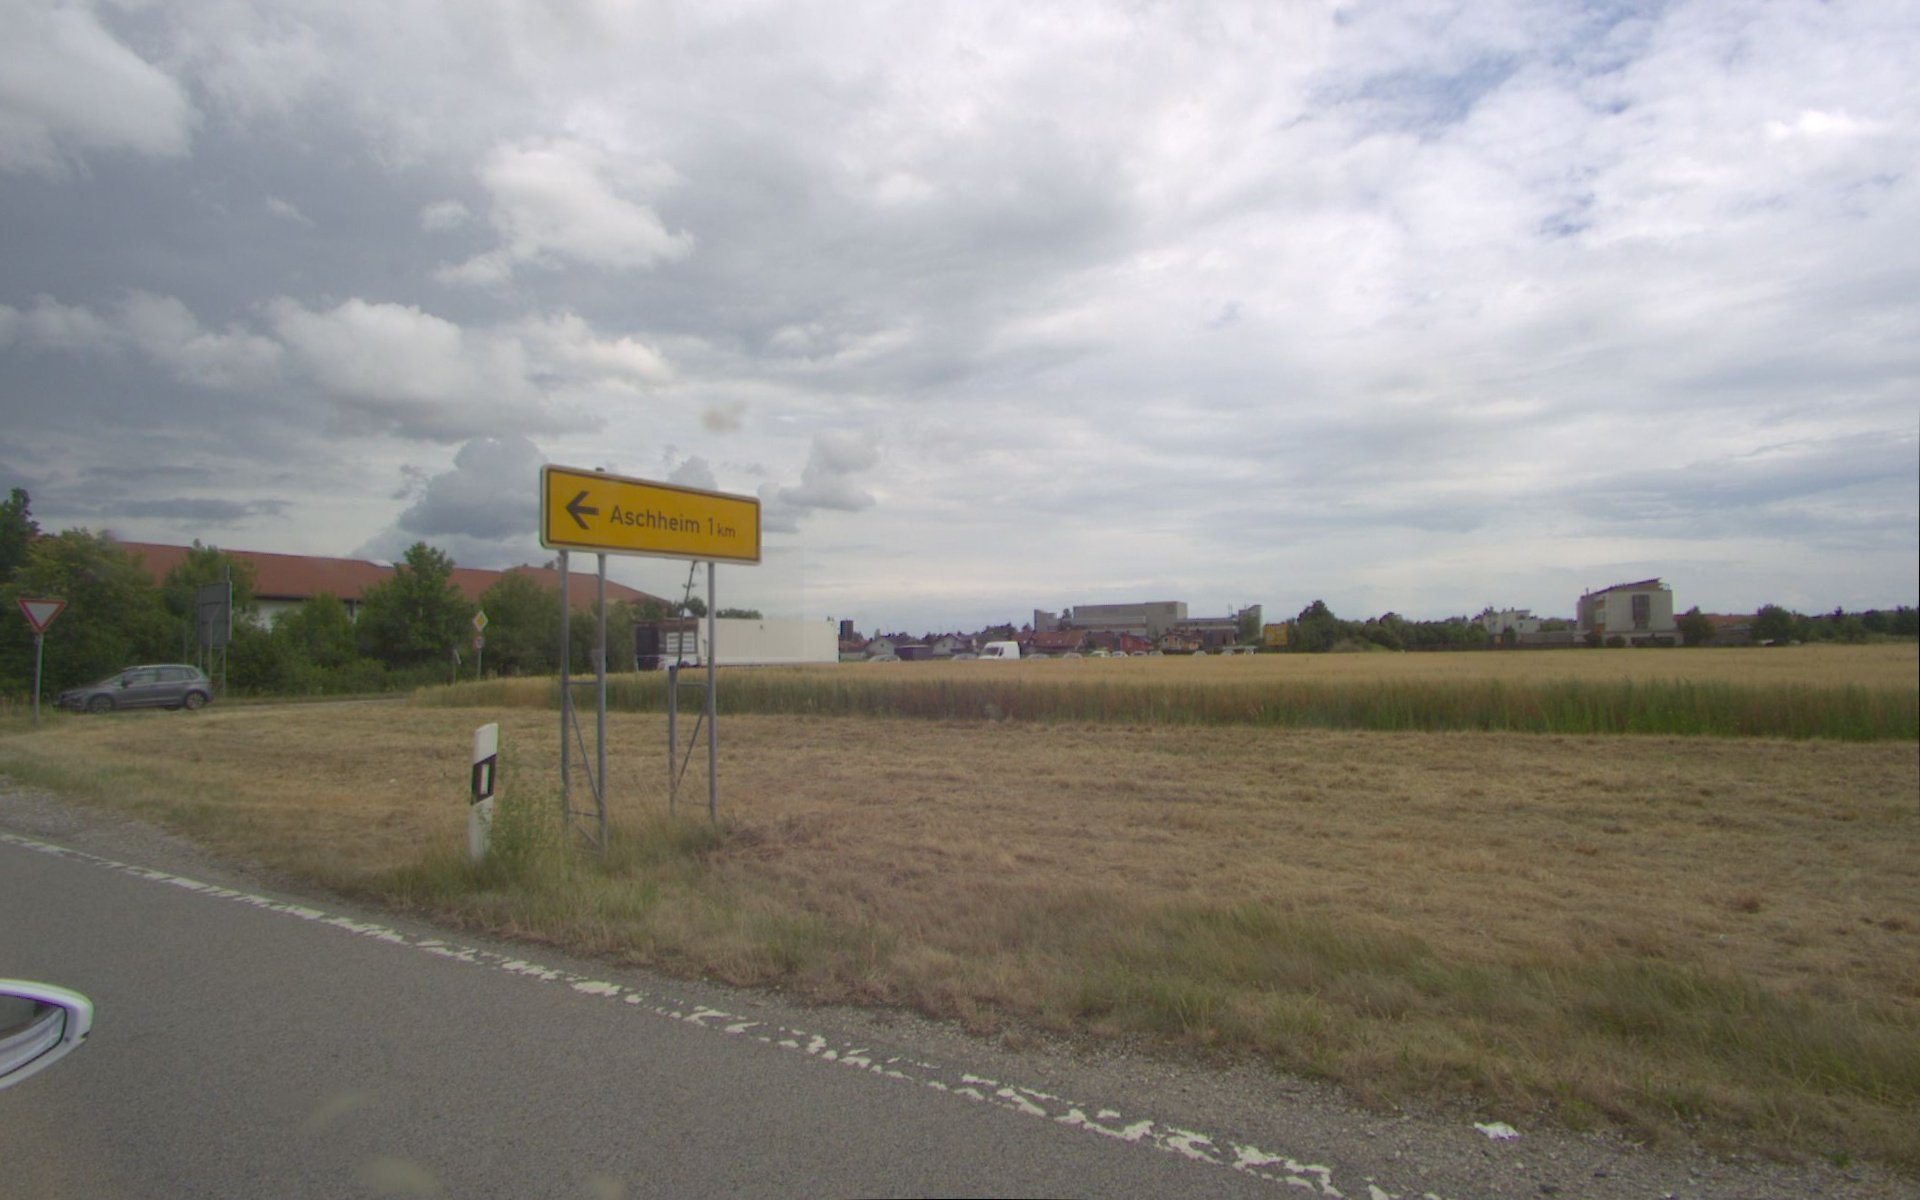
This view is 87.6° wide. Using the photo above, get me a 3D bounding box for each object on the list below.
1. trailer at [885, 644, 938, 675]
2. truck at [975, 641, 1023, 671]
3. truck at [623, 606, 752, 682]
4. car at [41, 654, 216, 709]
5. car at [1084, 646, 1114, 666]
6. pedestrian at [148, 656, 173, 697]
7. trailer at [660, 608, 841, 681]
[{"bbox_3d":[-3.857,4.775,80.476,2.379,2.320,4.383,-3,-3,26],"label":"trailer"},{"bbox_3d":[3.689,5.201,93.191,1.970,2.606,5.994,-3,-4,29],"label":"truck"},{"bbox_3d":[-15.791,2.634,58.590,3.082,4.063,7.281,-3,-4,28],"label":"truck"},{"bbox_3d":[-28.193,2.723,34.088,1.970,1.622,4.206,-1,-2,30],"label":"car"},{"bbox_3d":[14.298,5.721,102.667,1.967,1.914,3.988,-1,-1,24],"label":"car"},{"bbox_3d":[-33.303,3.174,41.694,0.521,1.704,0.626,-1,-1,24],"label":"pedestrian"},{"bbox_3d":[-12.895,2.889,63.870,3.082,4.063,13.837,-3,-4,28],"label":"trailer"}]
